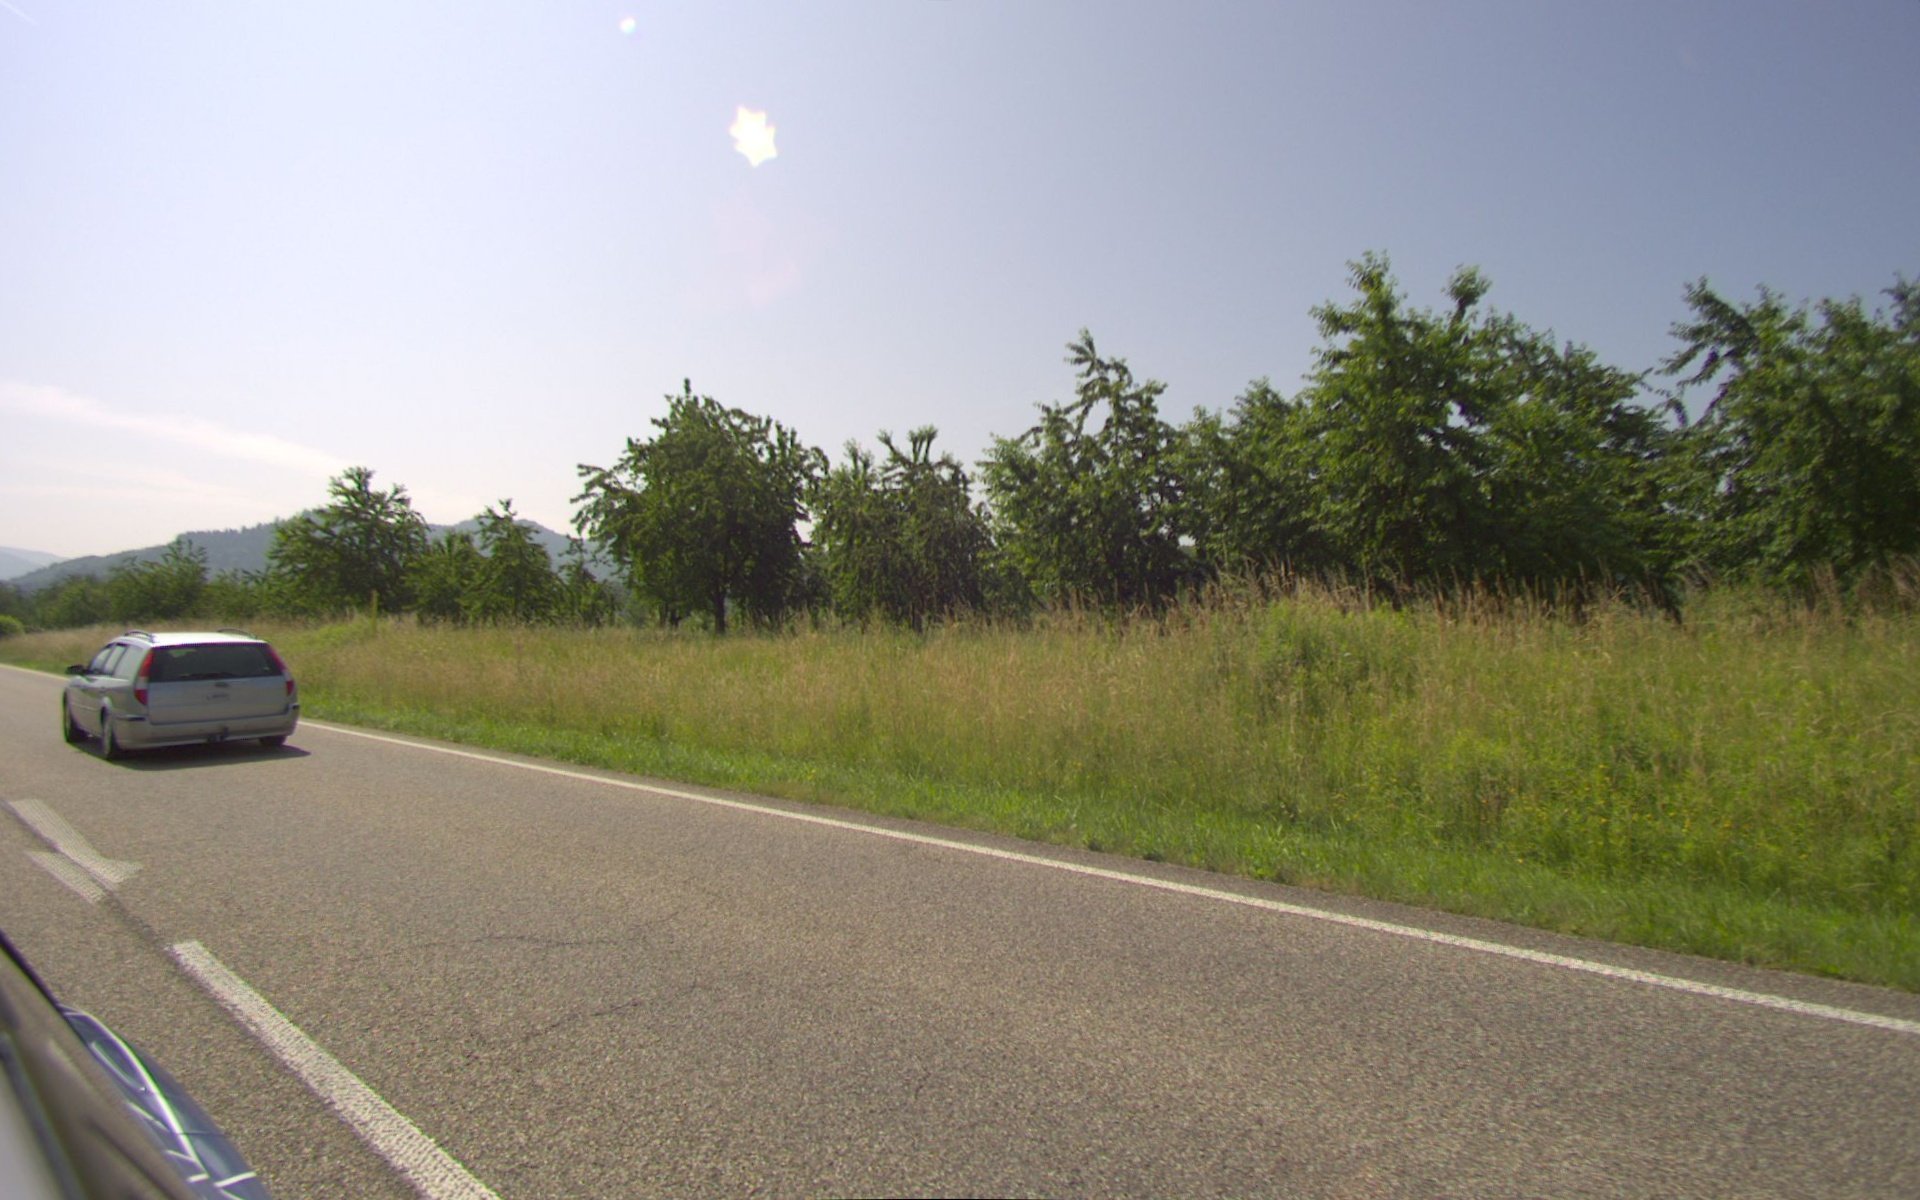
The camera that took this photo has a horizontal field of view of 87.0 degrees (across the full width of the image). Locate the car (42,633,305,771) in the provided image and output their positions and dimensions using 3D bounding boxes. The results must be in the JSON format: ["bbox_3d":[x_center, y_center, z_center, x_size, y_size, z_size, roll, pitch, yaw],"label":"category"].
[{"bbox_3d":[-10.059,1.143,12.789,4.891,1.419,1.673,-2,-2,41],"label":"car"}]
